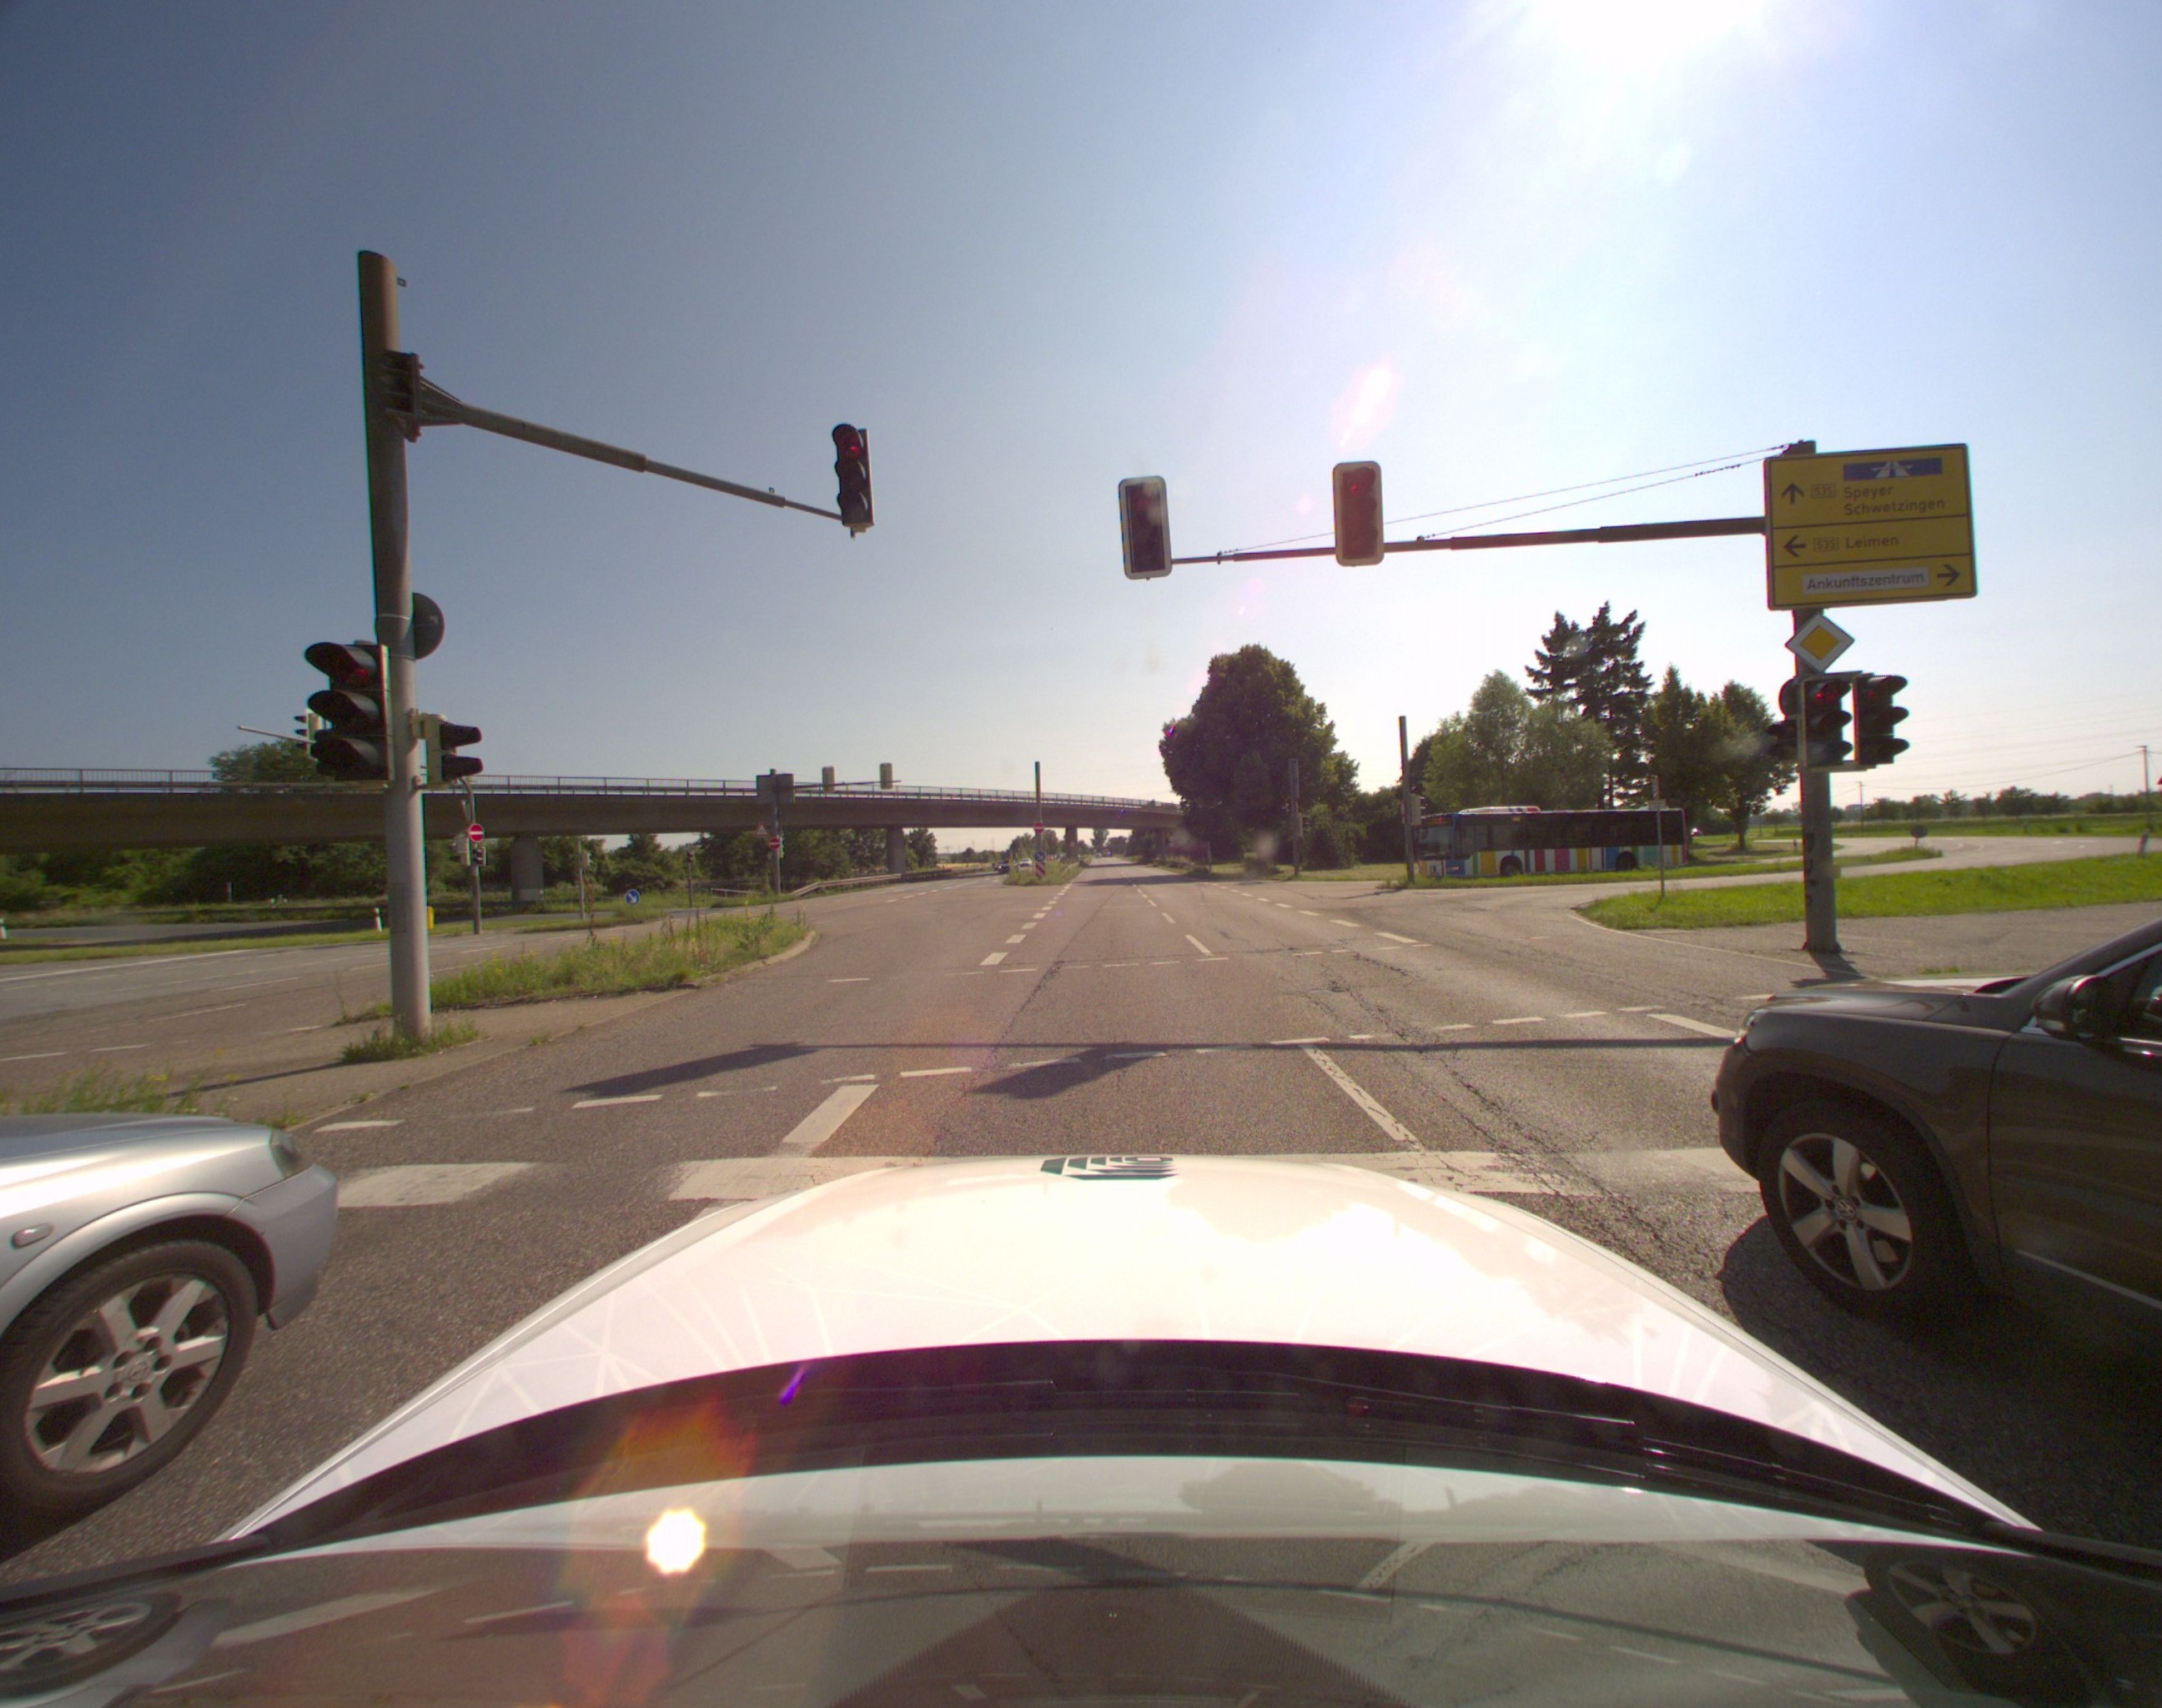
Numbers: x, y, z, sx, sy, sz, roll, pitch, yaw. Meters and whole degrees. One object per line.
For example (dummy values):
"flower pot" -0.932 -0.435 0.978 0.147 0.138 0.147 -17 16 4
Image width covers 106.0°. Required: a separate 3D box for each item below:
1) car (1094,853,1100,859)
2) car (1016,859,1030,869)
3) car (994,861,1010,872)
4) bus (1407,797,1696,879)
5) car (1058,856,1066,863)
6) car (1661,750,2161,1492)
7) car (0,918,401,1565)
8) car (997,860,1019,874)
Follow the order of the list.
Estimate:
"car" 4.958 0.576 250.961 1.843 1.460 4.003 -5 0 3
"car" -9.693 1.645 136.413 1.784 1.628 4.000 -3 0 1
"car" -10.960 1.729 113.186 1.634 1.385 4.241 -3 0 1
"bus" 20.227 -0.711 35.019 11.954 2.877 2.928 -3 0 -14
"car" -4.453 1.206 193.797 1.551 1.540 4.001 -3 0 2
"car" 3.267 0.585 1.321 1.749 1.655 4.147 -1 0 1
"car" -3.264 0.927 0.752 1.667 1.335 4.100 -3 0 2
"car" -8.154 1.434 90.858 1.850 1.448 4.241 -5 0 1
